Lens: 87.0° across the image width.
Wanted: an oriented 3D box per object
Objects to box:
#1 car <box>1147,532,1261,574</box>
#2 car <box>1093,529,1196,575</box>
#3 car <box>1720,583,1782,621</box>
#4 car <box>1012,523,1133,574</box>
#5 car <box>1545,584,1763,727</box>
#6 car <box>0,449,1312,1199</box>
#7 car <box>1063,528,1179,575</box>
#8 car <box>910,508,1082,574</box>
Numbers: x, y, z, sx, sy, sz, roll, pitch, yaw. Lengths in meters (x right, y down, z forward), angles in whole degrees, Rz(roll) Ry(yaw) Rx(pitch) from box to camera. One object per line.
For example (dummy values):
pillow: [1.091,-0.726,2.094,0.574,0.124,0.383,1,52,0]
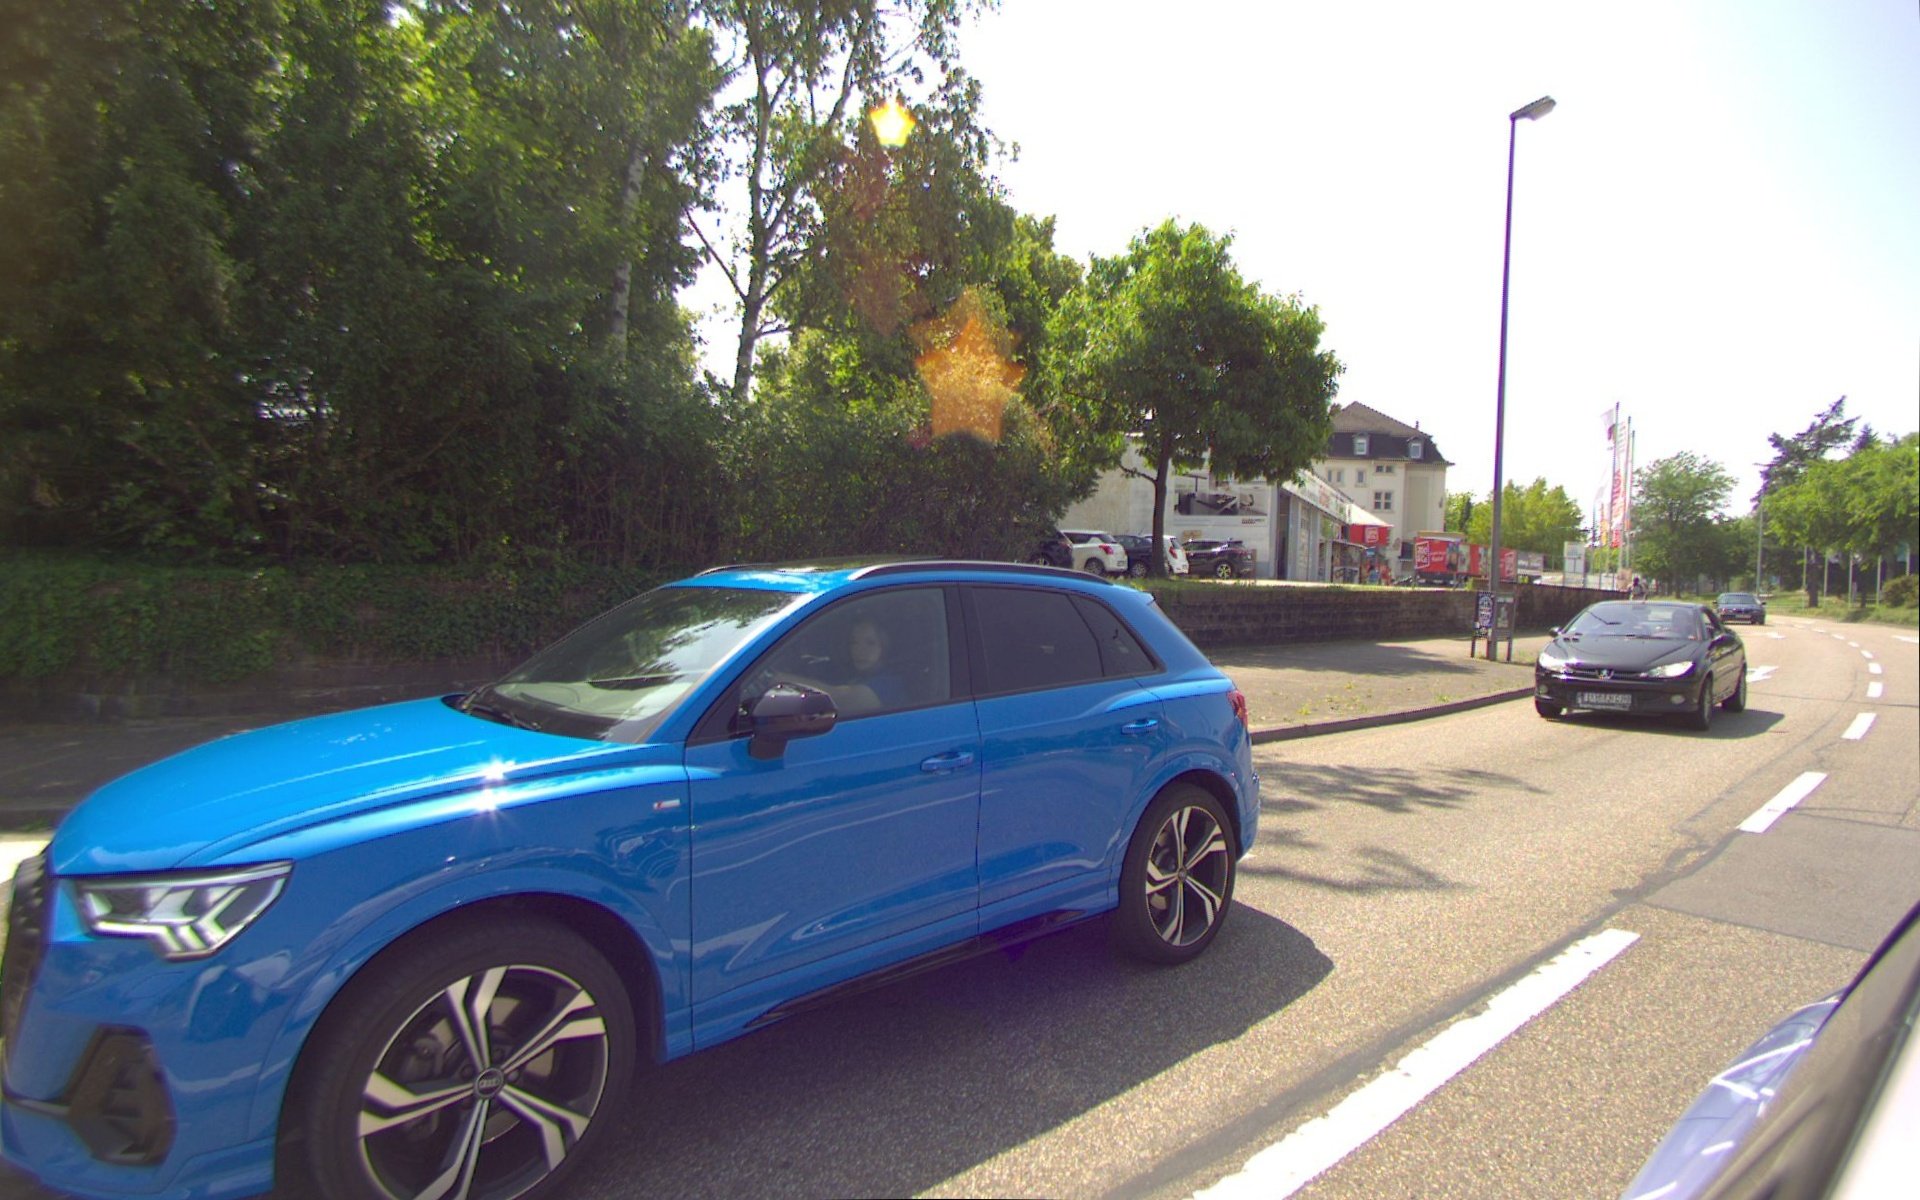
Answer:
car: [9.417,-1.814,39.109,3.966,1.559,1.721,2,2,30]
car: [6.293,-1.620,34.521,3.132,1.489,1.486,2,2,33]
car: [34.673,0.060,44.441,1.686,1.390,3.956,3,4,32]
car: [3.362,-1.532,30.267,3.263,1.429,1.514,2,1,30]
car: [8.382,0.559,12.105,1.600,1.443,3.603,1,0,44]
car: [-0.740,0.512,3.800,4.317,1.617,1.917,0,2,-40]
car: [5.118,-1.534,32.294,3.293,1.403,1.641,2,1,30]
car: [0.853,-1.389,24.838,3.768,1.502,2.004,0,1,-16]
